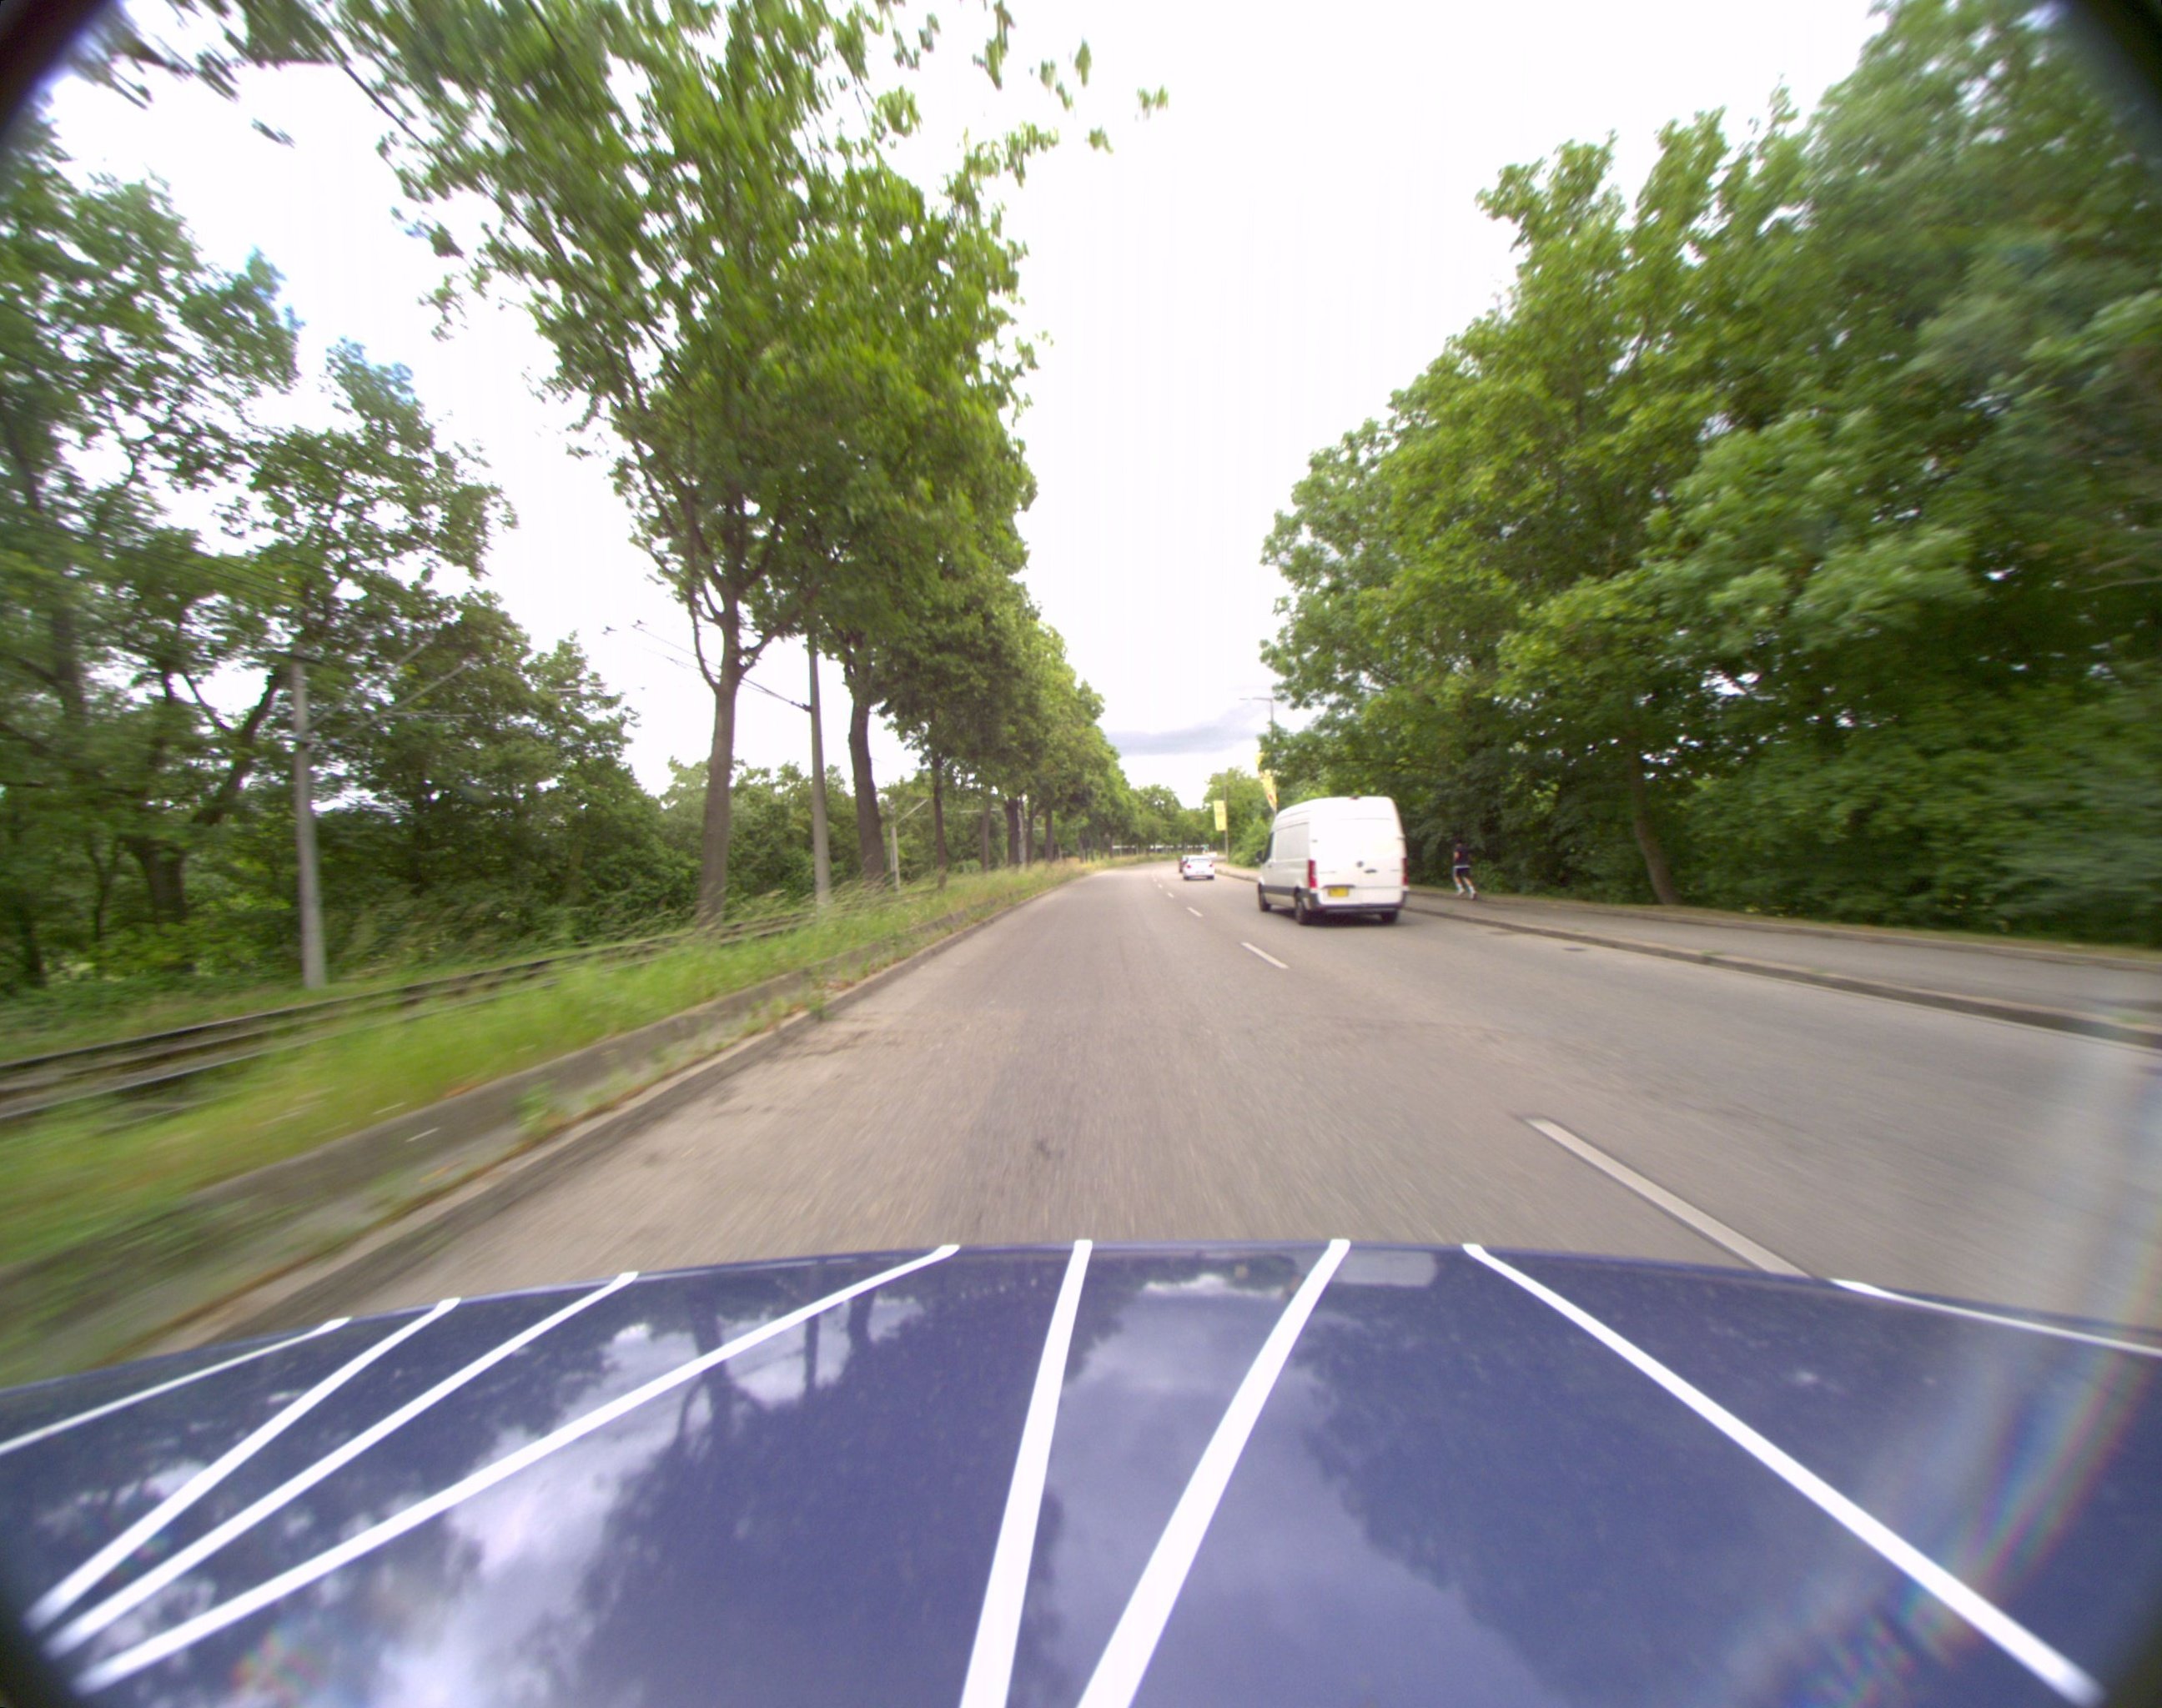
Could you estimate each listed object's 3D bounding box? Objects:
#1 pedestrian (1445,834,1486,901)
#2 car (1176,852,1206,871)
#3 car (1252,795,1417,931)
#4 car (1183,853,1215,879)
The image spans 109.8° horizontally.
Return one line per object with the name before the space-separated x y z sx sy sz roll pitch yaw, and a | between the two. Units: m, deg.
pedestrian | 10.217 0.343 20.201 0.601 1.704 0.814 -4 1 1
car | 9.303 0.607 64.538 1.998 1.496 4.279 -2 1 1
car | 5.562 0.167 17.616 1.998 2.611 5.895 -1 0 2
car | 7.240 0.676 46.358 1.727 1.420 4.003 -1 1 11
